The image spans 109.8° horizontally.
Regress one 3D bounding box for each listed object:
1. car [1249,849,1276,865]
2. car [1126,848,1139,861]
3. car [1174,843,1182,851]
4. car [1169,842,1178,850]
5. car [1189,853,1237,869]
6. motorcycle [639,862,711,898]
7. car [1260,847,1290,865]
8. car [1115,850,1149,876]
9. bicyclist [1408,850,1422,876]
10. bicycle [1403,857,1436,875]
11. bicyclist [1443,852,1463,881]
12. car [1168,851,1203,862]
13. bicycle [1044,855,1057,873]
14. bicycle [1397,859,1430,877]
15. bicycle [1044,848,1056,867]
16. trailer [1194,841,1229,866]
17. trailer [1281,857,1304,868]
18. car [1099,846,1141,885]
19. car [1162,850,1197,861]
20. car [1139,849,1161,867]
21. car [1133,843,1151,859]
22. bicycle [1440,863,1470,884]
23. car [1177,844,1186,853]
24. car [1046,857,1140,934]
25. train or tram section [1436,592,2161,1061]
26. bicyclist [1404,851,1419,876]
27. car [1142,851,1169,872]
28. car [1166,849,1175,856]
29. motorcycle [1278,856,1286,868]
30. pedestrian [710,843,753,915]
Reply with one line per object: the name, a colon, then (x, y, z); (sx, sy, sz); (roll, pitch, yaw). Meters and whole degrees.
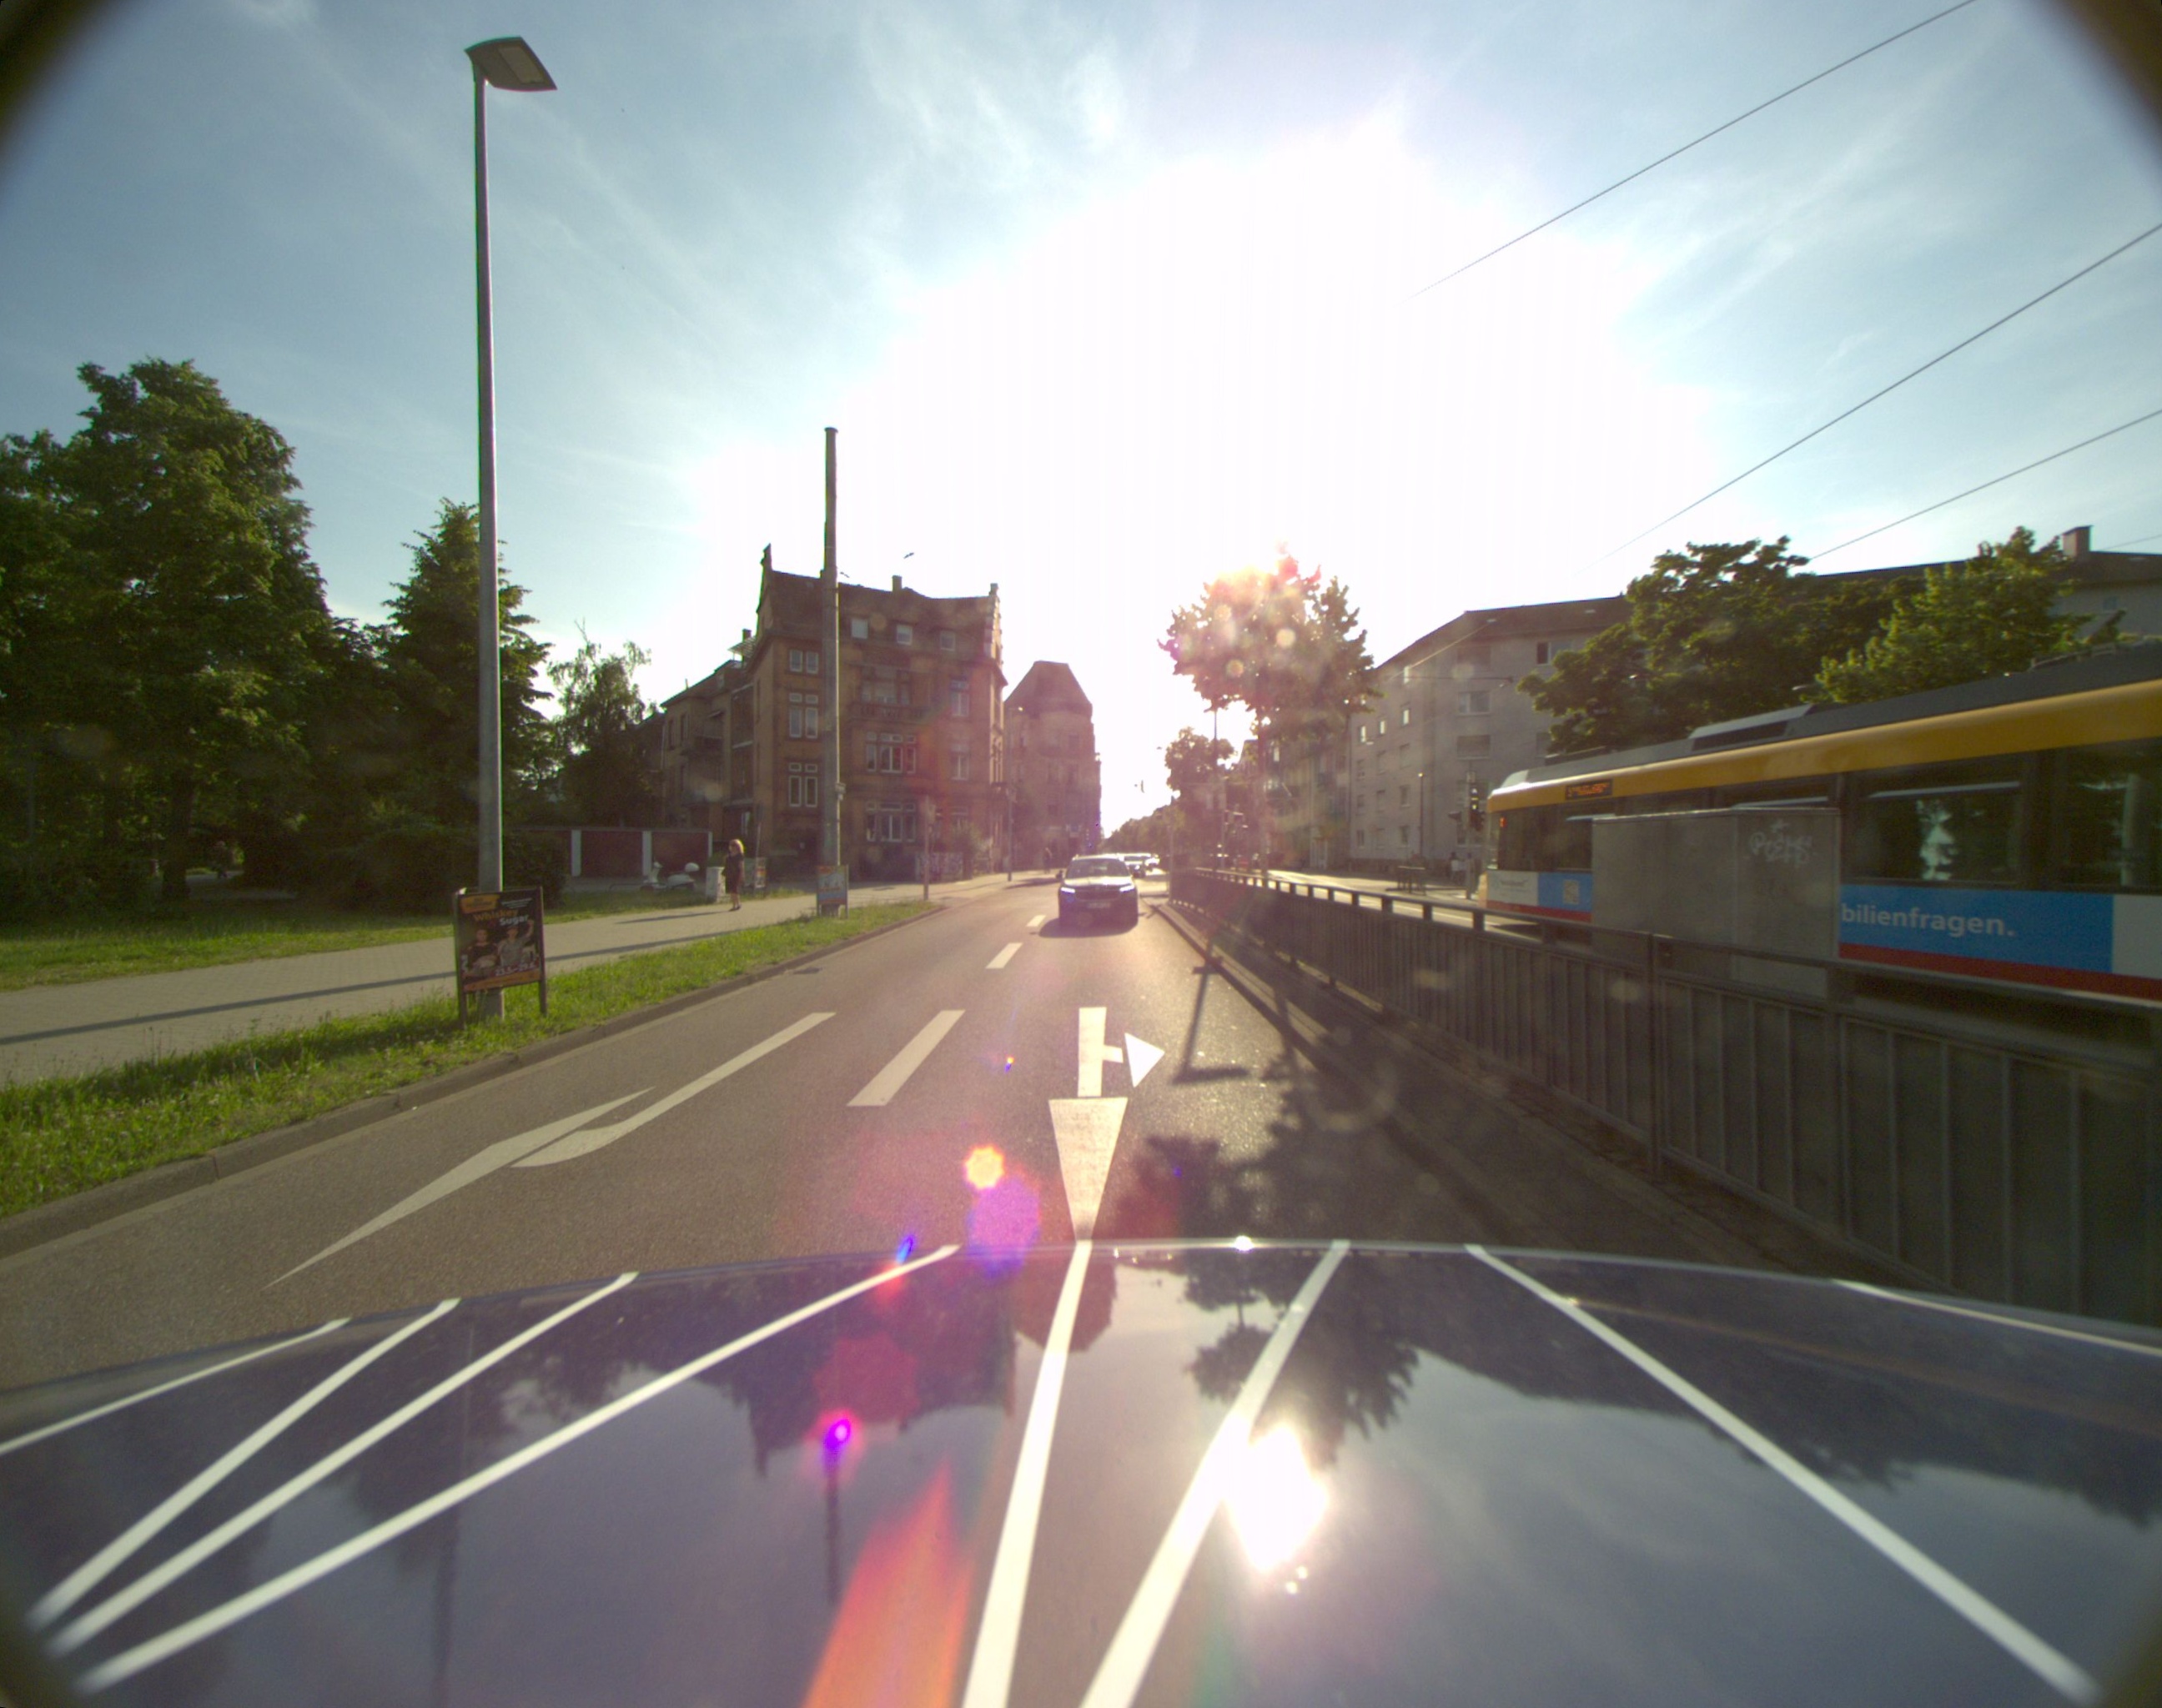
car: (20.238, 0.357, 85.058); (2.170, 1.740, 4.612); (-1, 0, 4)
car: (8.230, 0.082, 121.532); (1.998, 2.002, 4.000); (0, 1, 2)
car: (23.887, -1.695, 187.222); (1.998, 2.002, 4.001); (-1, 0, 5)
car: (24.249, -2.134, 199.522); (1.998, 2.002, 4.000); (-1, 0, 1)
car: (12.096, 0.641, 69.683); (3.941, 1.352, 1.676); (1, 1, 38)
motorcycle: (-13.690, 0.861, 25.646); (2.002, 1.153, 0.708); (-1, 0, -4)
car: (19.967, 0.214, 78.533); (2.170, 1.740, 4.719); (-1, 0, 4)
car: (3.304, 0.531, 48.568); (1.997, 1.565, 4.002); (-1, 0, 6)
bicyclist: (21.342, 0.585, 48.526); (0.771, 1.633, 0.796); (1, 1, 22)
bicycle: (21.566, 0.761, 48.459); (1.912, 1.104, 0.736); (1, 1, 22)
bicyclist: (18.467, 0.614, 37.703); (0.652, 1.405, 0.717); (-1, 1, 4)
car: (13.403, 0.338, 97.994); (4.259, 1.414, 1.685); (-1, 0, 43)
bicycle: (-2.054, 0.647, 50.696); (0.485, 1.183, 1.337); (-1, 0, -18)
bicycle: (21.606, 0.908, 49.430); (1.976, 1.196, 0.736); (-1, 0, 23)
bicycle: (-2.064, 0.233, 50.702); (0.575, 1.290, 0.687); (-1, 1, -20)
trailer: (12.510, -0.062, 72.893); (2.858, 2.378, 1.726); (-1, 0, 33)
trailer: (19.972, 0.827, 71.789); (1.444, 0.891, 2.880); (-5, 0, 2)
car: (1.917, 0.550, 38.241); (1.998, 1.827, 4.000); (-1, 0, 1)
car: (13.591, 0.225, 105.042); (4.259, 1.414, 2.177); (-1, 0, 43)
car: (6.999, 0.343, 77.486); (1.998, 1.772, 4.000); (0, 1, 1)
car: (7.791, -0.432, 97.355); (1.998, 2.002, 4.000); (0, 1, 1)
bicycle: (18.514, 0.945, 37.627); (0.543, 1.012, 2.251); (-1, 0, 5)
car: (23.306, -1.240, 176.007); (1.998, 2.002, 4.001); (-1, 0, 5)
car: (0.357, 0.818, 16.931); (1.839, 1.472, 4.001); (0, 0, 4)
train or tram section: (9.664, -0.224, 10.321); (3.169, 3.459, 14.533); (-1, 0, 1)
bicyclist: (21.481, 0.632, 49.439); (0.851, 1.633, 0.815); (-1, 1, 22)
car: (5.705, 0.542, 58.176); (1.997, 1.565, 4.002); (-1, 0, 6)
car: (26.127, -0.502, 222.055); (1.998, 2.002, 4.000); (-1, 0, 1)
motorcycle: (19.707, 0.776, 74.425); (0.636, 1.074, 1.735); (-1, 0, 11)
pedestrian: (-8.417, 0.593, 18.310); (0.616, 1.682, 0.549); (5, 1, 5)
